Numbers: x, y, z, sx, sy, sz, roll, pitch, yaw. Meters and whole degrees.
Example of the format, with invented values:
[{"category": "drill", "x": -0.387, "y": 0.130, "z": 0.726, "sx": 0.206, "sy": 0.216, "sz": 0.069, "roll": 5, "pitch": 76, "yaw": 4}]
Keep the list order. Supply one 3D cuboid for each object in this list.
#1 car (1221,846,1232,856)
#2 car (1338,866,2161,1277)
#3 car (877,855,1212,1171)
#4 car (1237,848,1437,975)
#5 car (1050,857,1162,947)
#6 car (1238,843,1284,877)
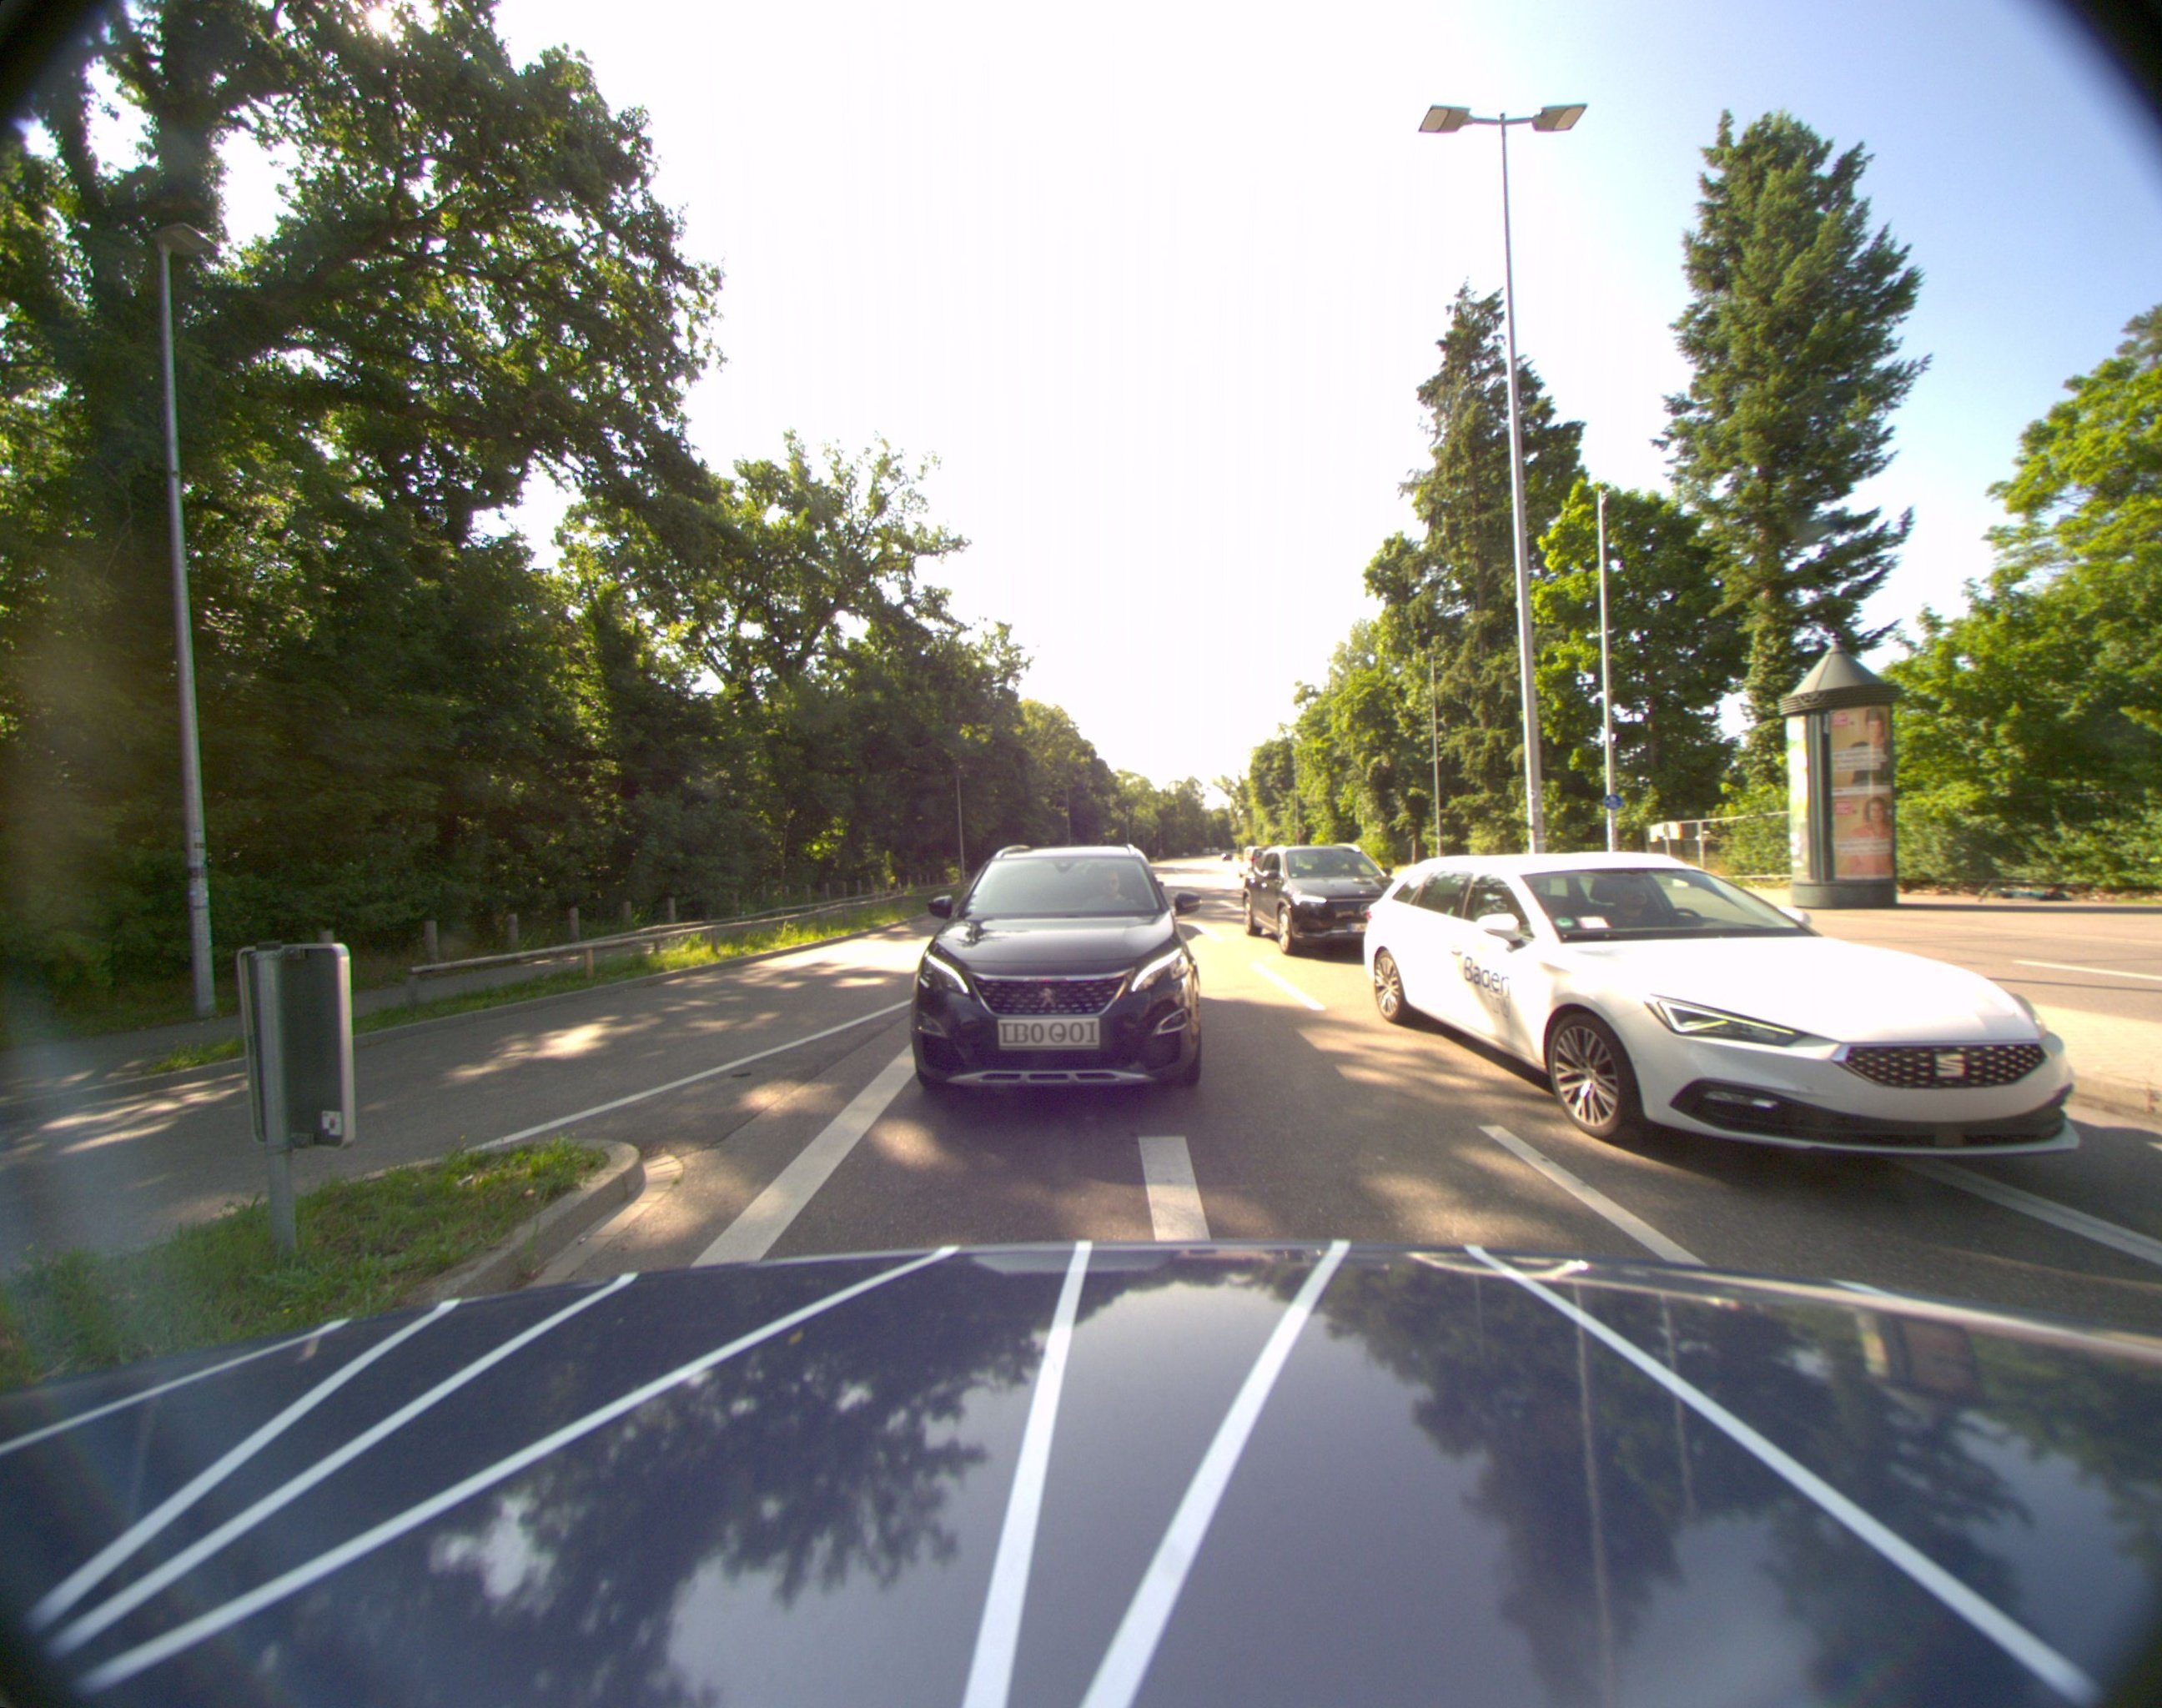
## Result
[{"category": "car", "x": 26.225, "y": -0.524, "z": 137.194, "sx": 1.855, "sy": 1.608, "sz": 4.003, "roll": -2, "pitch": 0, "yaw": 11}, {"category": "car", "x": 3.395, "y": 0.857, "z": 5.197, "sx": 1.729, "sy": 1.418, "sz": 4.720, "roll": -1, "pitch": 0, "yaw": 1}, {"category": "car", "x": -0.161, "y": 0.849, "z": 6.174, "sx": 1.702, "sy": 1.581, "sz": 4.319, "roll": -2, "pitch": 0, "yaw": 1}, {"category": "car", "x": 3.752, "y": 0.766, "z": 11.971, "sx": 1.809, "sy": 1.586, "sz": 4.274, "roll": -2, "pitch": 0, "yaw": 2}, {"category": "car", "x": 0.473, "y": 0.867, "z": 15.562, "sx": 1.933, "sy": 1.499, "sz": 4.000, "roll": -2, "pitch": 0, "yaw": 1}, {"category": "car", "x": 10.512, "y": 0.314, "z": 44.679, "sx": 1.876, "sy": 1.849, "sz": 4.001, "roll": -2, "pitch": 0, "yaw": 3}]
